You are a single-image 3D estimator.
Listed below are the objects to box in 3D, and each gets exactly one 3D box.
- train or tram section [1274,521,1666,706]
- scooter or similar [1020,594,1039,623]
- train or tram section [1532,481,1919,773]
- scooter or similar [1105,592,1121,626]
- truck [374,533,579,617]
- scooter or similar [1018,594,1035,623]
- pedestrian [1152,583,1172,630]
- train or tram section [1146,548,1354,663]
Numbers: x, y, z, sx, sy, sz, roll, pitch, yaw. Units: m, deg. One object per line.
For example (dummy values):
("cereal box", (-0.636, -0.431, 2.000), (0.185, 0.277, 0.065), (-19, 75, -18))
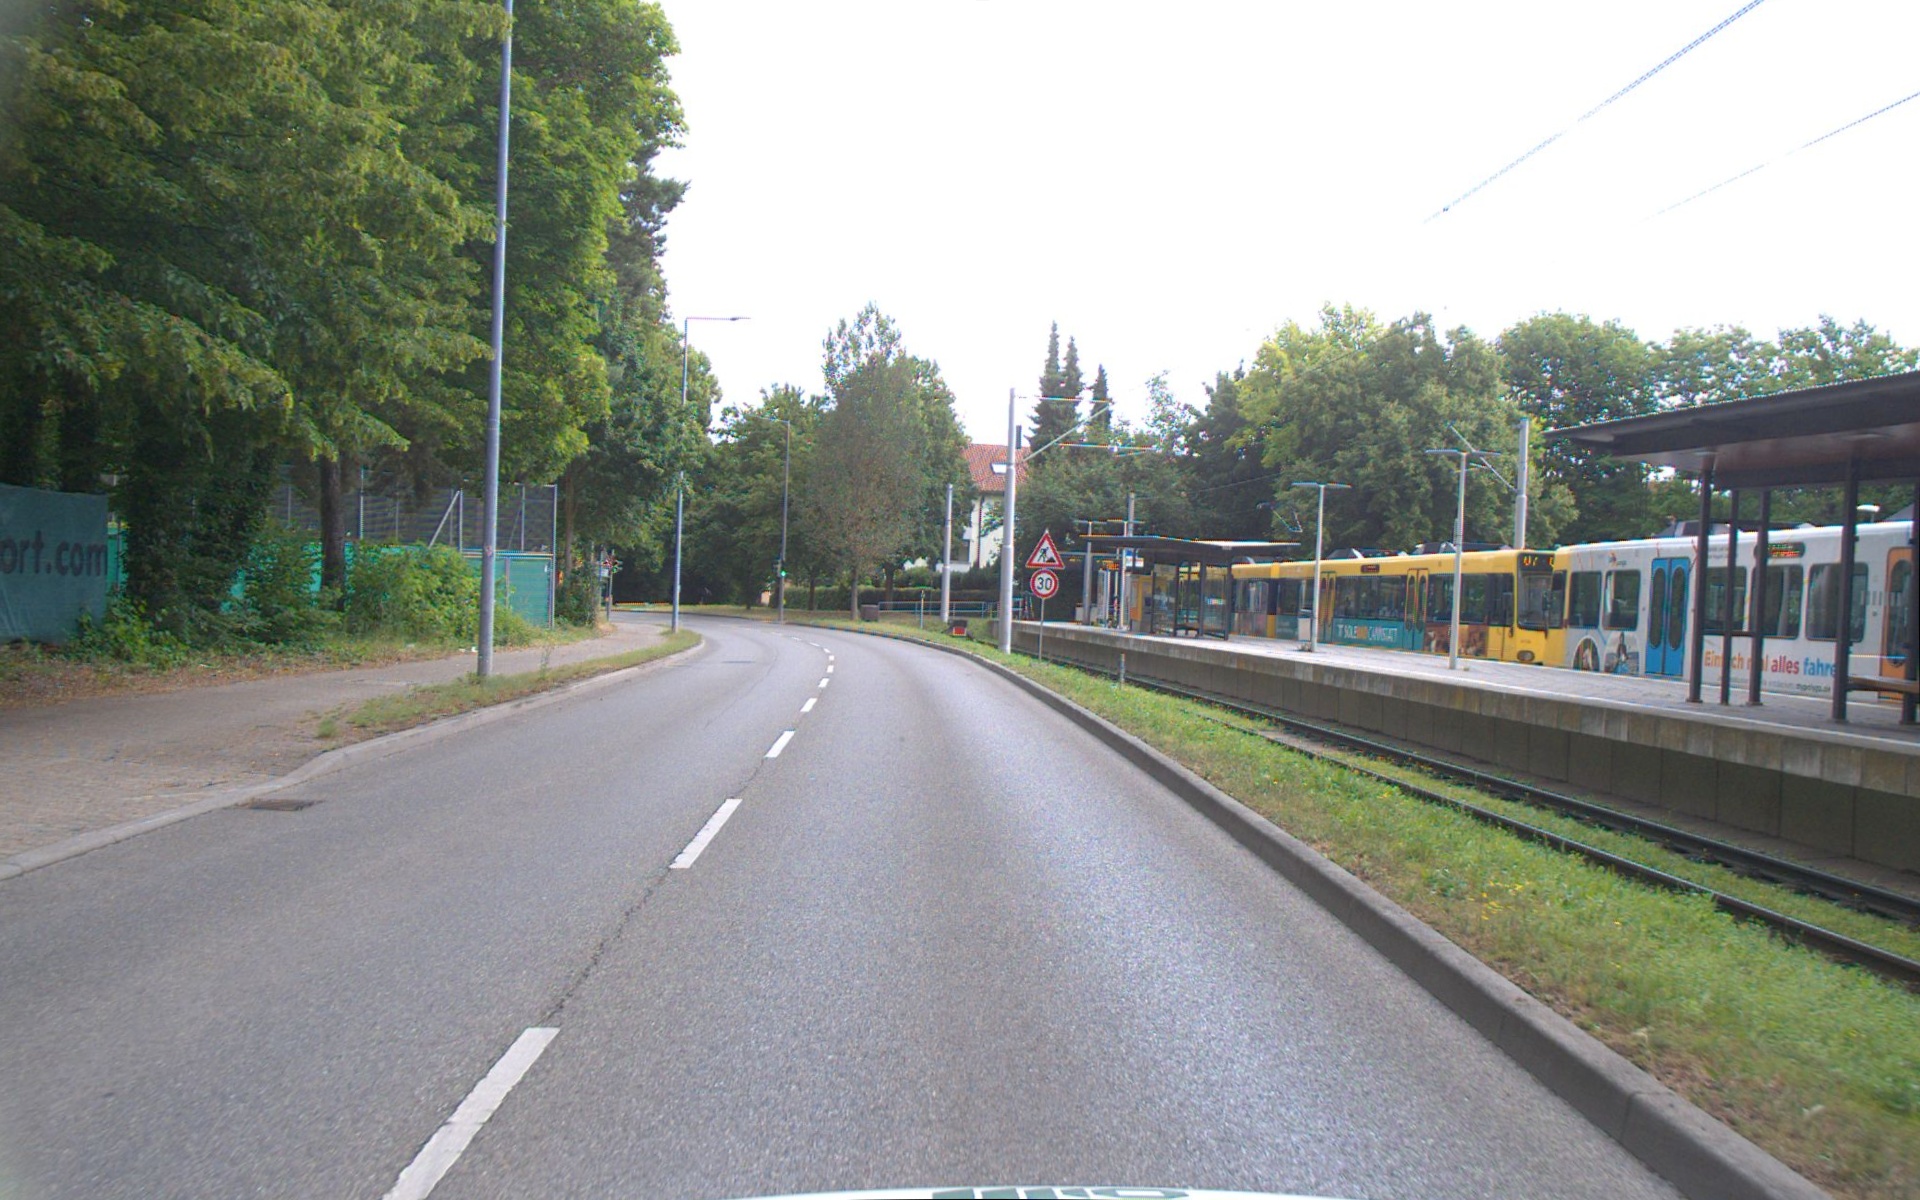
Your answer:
("train or tram section", (12.737, 0.191, 44.984), (2.759, 3.801, 19.492), (3, 0, -5))
("scooter or similar", (3.162, 0.391, 75.173), (0.423, 1.275, 1.248), (1, -2, -18))
("train or tram section", (13.984, 0.386, 26.088), (2.757, 3.864, 18.928), (3, 0, -2))
("scooter or similar", (5.824, 0.351, 63.058), (0.361, 1.264, 1.144), (2, 0, -7))
("truck", (-22.864, -1.122, 78.314), (9.096, 3.593, 2.549), (2, -1, -21))
("scooter or similar", (2.925, 0.375, 72.786), (0.422, 1.275, 1.249), (1, -2, -15))
("pedestrian", (7.019, 0.233, 57.434), (0.609, 1.600, 0.665), (1, -1, 11))
("train or tram section", (10.719, 0.082, 64.490), (2.759, 3.651, 19.492), (3, 0, -5))
